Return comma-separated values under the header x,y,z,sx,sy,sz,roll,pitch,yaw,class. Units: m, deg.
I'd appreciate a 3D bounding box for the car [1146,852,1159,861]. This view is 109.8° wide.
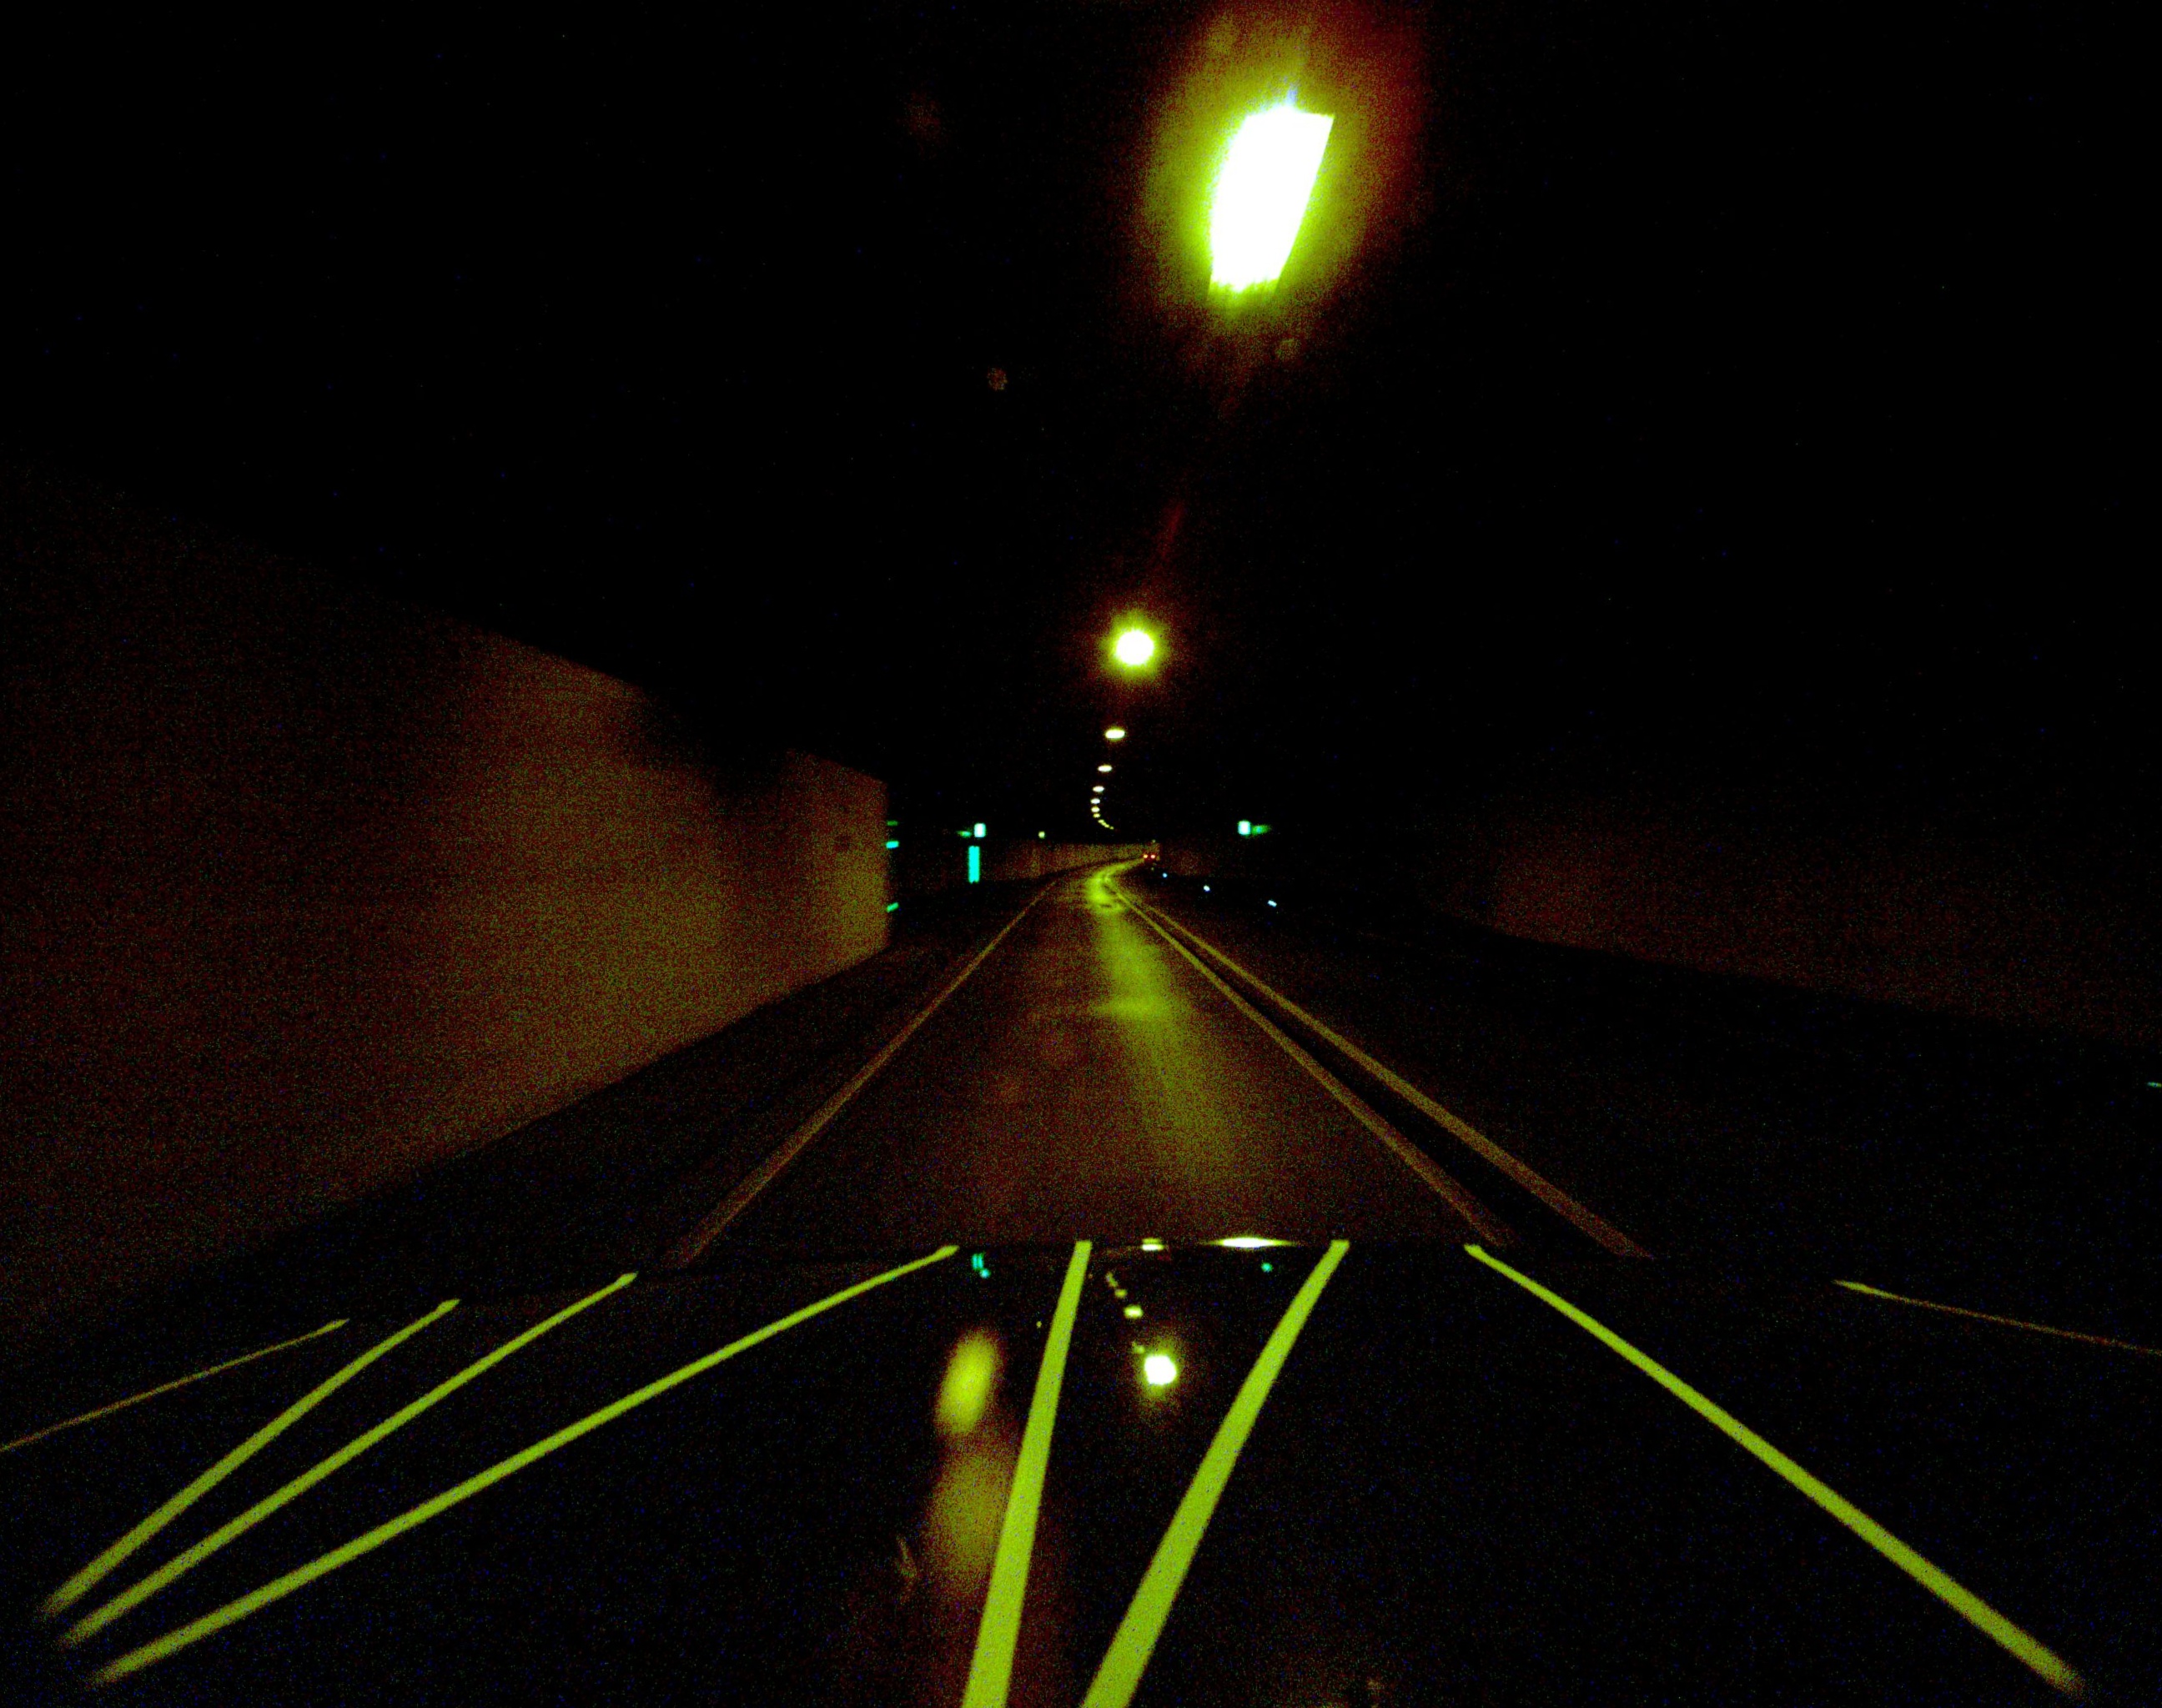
x,y,z,sx,sy,sz,roll,pitch,yaw,class
11.864,0.432,126.061,1.710,1.407,4.121,3,0,9,car
